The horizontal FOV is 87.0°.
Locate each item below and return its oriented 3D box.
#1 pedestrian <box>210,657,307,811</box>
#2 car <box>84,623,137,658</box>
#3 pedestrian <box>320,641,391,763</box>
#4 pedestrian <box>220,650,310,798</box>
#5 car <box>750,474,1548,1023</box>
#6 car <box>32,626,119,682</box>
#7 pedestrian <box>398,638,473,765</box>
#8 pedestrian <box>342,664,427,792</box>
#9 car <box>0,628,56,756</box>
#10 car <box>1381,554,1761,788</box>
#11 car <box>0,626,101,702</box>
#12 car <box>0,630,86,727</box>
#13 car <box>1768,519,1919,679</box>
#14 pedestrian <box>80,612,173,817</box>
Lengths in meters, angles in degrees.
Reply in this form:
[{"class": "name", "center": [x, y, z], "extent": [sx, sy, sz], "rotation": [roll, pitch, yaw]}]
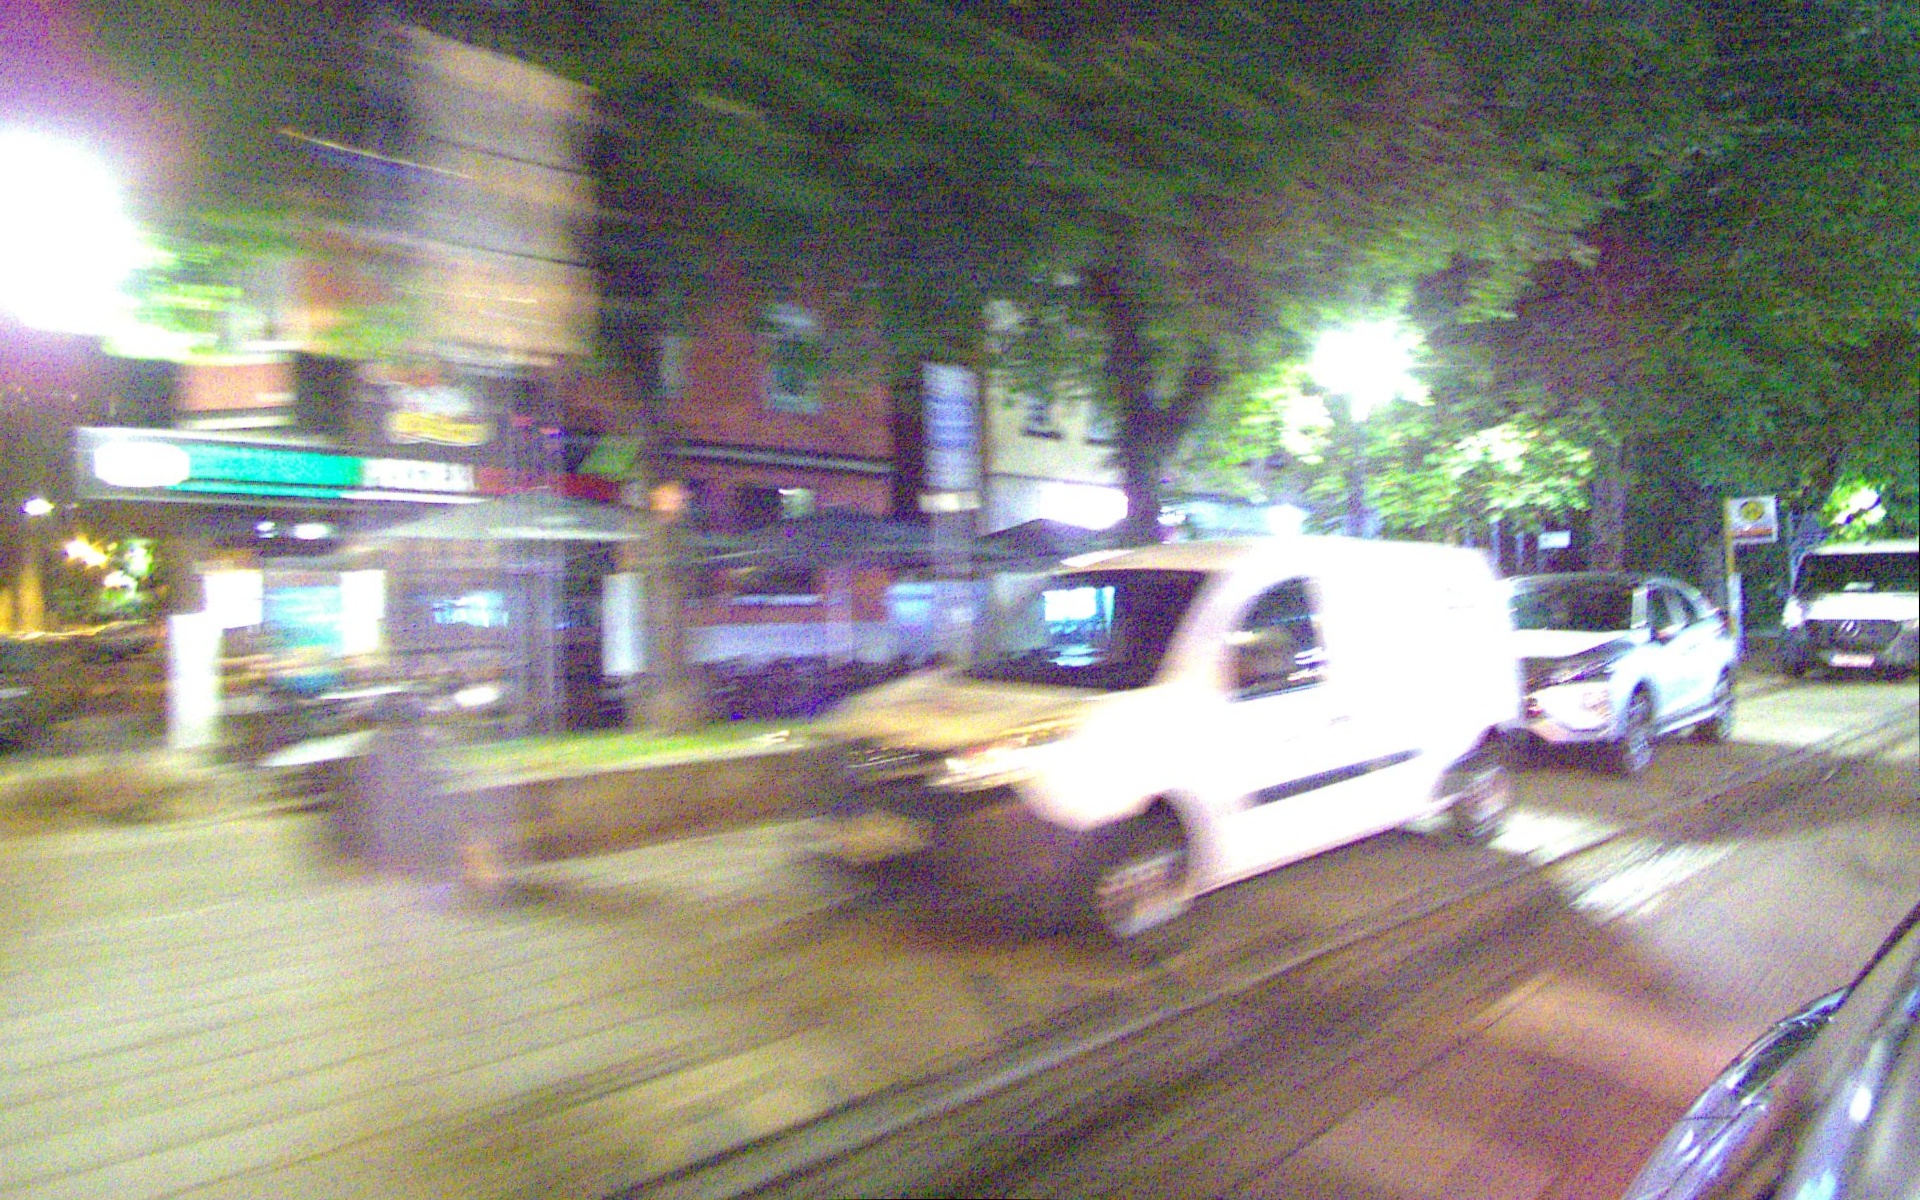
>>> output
[{"class": "pedestrian", "center": [-5.689, 1.074, 8.222], "extent": [0.508, 1.183, 0.391], "rotation": [-2, -1, -2]}, {"class": "car", "center": [-40.713, 1.912, 48.580], "extent": [1.770, 1.570, 4.152], "rotation": [2, -2, -38]}, {"class": "pedestrian", "center": [-6.650, 1.101, 11.152], "extent": [0.518, 1.280, 0.503], "rotation": [-1, -1, -10]}, {"class": "pedestrian", "center": [-6.405, 1.122, 9.348], "extent": [0.492, 1.280, 0.530], "rotation": [-1, -1, -8]}, {"class": "car", "center": [1.311, 0.491, 5.539], "extent": [4.497, 1.845, 1.792], "rotation": [-1, -1, -39]}, {"class": "car", "center": [-27.115, 1.609, 31.147], "extent": [1.770, 1.570, 4.152], "rotation": [2, -2, -38]}, {"class": "pedestrian", "center": [-5.609, 1.066, 10.853], "extent": [0.518, 1.280, 0.685], "rotation": [-1, -1, -10]}, {"class": "pedestrian", "center": [-5.171, 1.131, 9.111], "extent": [0.492, 1.067, 0.530], "rotation": [-1, -1, -8]}, {"class": "car", "center": [-13.870, 1.196, 13.978], "extent": [1.770, 1.570, 4.152], "rotation": [2, -2, -38]}, {"class": "car", "center": [5.736, 0.501, 9.283], "extent": [4.221, 1.680, 1.687], "rotation": [-1, -1, -40]}, {"class": "car", "center": [-20.931, 1.389, 23.142], "extent": [1.770, 1.570, 4.152], "rotation": [2, -2, -38]}, {"class": "car", "center": [-17.254, 1.359, 18.448], "extent": [1.770, 1.570, 4.152], "rotation": [2, -2, -38]}, {"class": "car", "center": [15.662, -0.025, 17.157], "extent": [5.062, 2.356, 2.137], "rotation": [-1, -1, -41]}, {"class": "pedestrian", "center": [-6.791, 0.911, 8.262], "extent": [0.364, 1.608, 0.482], "rotation": [-2, -1, -2]}]
